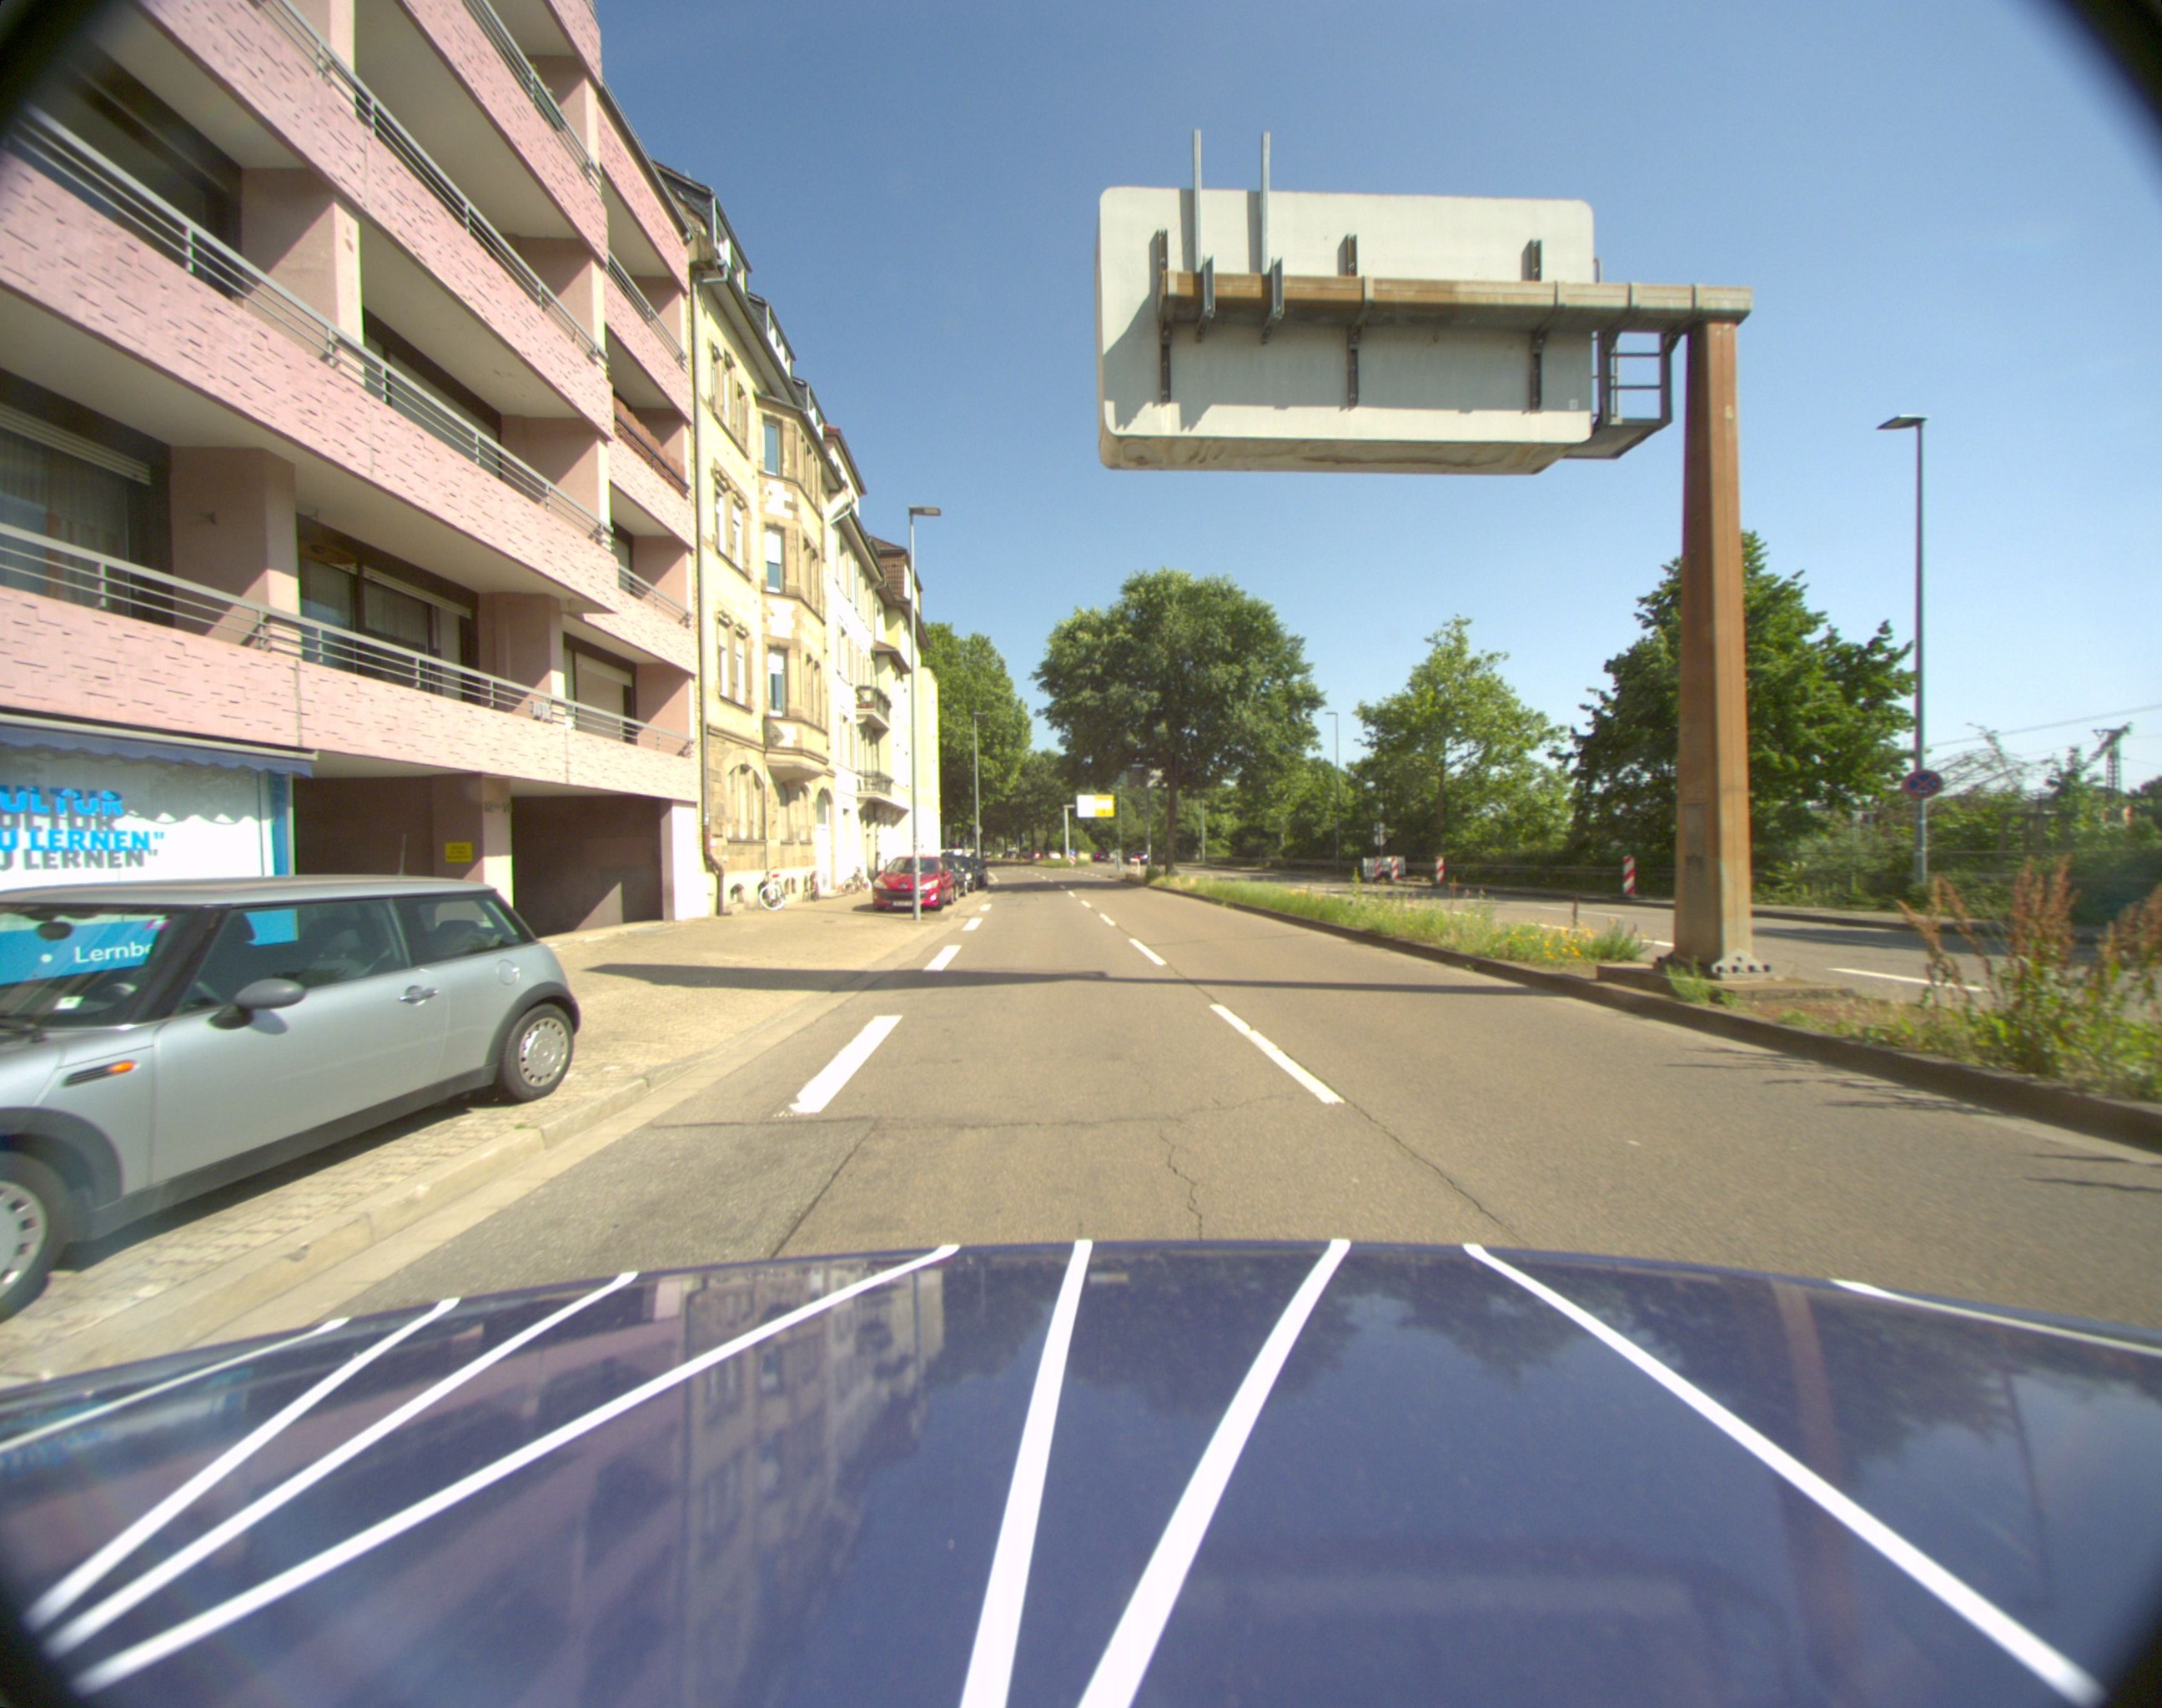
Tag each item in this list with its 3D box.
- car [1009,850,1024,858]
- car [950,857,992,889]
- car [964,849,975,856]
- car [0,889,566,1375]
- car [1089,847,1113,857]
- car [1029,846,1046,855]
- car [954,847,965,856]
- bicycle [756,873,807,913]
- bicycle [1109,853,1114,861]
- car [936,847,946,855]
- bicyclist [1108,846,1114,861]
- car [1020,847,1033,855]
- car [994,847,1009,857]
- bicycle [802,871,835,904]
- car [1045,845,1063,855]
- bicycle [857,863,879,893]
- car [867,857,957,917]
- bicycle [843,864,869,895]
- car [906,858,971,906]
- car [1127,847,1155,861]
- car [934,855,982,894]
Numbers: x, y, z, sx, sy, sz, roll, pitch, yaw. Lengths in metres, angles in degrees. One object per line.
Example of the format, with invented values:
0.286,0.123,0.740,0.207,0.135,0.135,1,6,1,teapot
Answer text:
-12.892,-0.003,152.171,1.925,1.654,4.304,-1,0,-20,car
-5.242,0.871,36.658,1.745,1.408,4.078,0,1,-4,car
-24.449,-0.325,166.786,1.636,1.487,3.673,-1,1,-21,car
-4.237,0.941,3.237,1.682,1.400,3.430,0,0,1,car
2.730,-0.294,104.446,2.001,1.403,4.609,0,1,-15,car
-7.274,-0.579,126.453,1.804,1.511,3.957,-1,1,-19,car
-27.615,-0.626,173.139,1.636,1.904,3.674,-2,1,-21,car
-8.121,1.033,20.676,0.652,0.964,1.864,-1,1,-2,bicycle
3.269,0.362,81.419,0.495,0.828,1.806,-1,1,-1,bicycle
-33.405,-0.630,180.687,1.636,1.801,3.585,-2,1,-22,car
3.264,-0.080,81.378,0.575,1.525,0.778,-1,1,0,bicyclist
-10.288,-0.474,142.875,1.682,1.461,3.571,-1,0,-18,car
-15.459,-0.471,146.911,2.001,1.880,3.993,-2,1,-18,car
-8.335,1.044,24.194,0.509,0.964,1.652,-1,1,-1,bicycle
-4.106,-0.657,115.952,1.871,1.444,4.198,0,1,-15,car
-8.693,0.952,31.111,0.567,1.173,1.625,-1,0,-6,bicycle
-4.633,0.846,21.427,1.790,1.474,3.998,0,1,-3,car
-8.570,0.959,29.026,0.657,1.140,1.625,0,1,-6,bicycle
-4.872,0.914,26.481,1.646,1.444,4.125,-1,1,-3,car
6.629,-0.038,84.046,2.000,1.519,4.693,0,1,-9,car
-5.109,0.822,32.046,1.647,1.492,4.008,0,1,-4,car
